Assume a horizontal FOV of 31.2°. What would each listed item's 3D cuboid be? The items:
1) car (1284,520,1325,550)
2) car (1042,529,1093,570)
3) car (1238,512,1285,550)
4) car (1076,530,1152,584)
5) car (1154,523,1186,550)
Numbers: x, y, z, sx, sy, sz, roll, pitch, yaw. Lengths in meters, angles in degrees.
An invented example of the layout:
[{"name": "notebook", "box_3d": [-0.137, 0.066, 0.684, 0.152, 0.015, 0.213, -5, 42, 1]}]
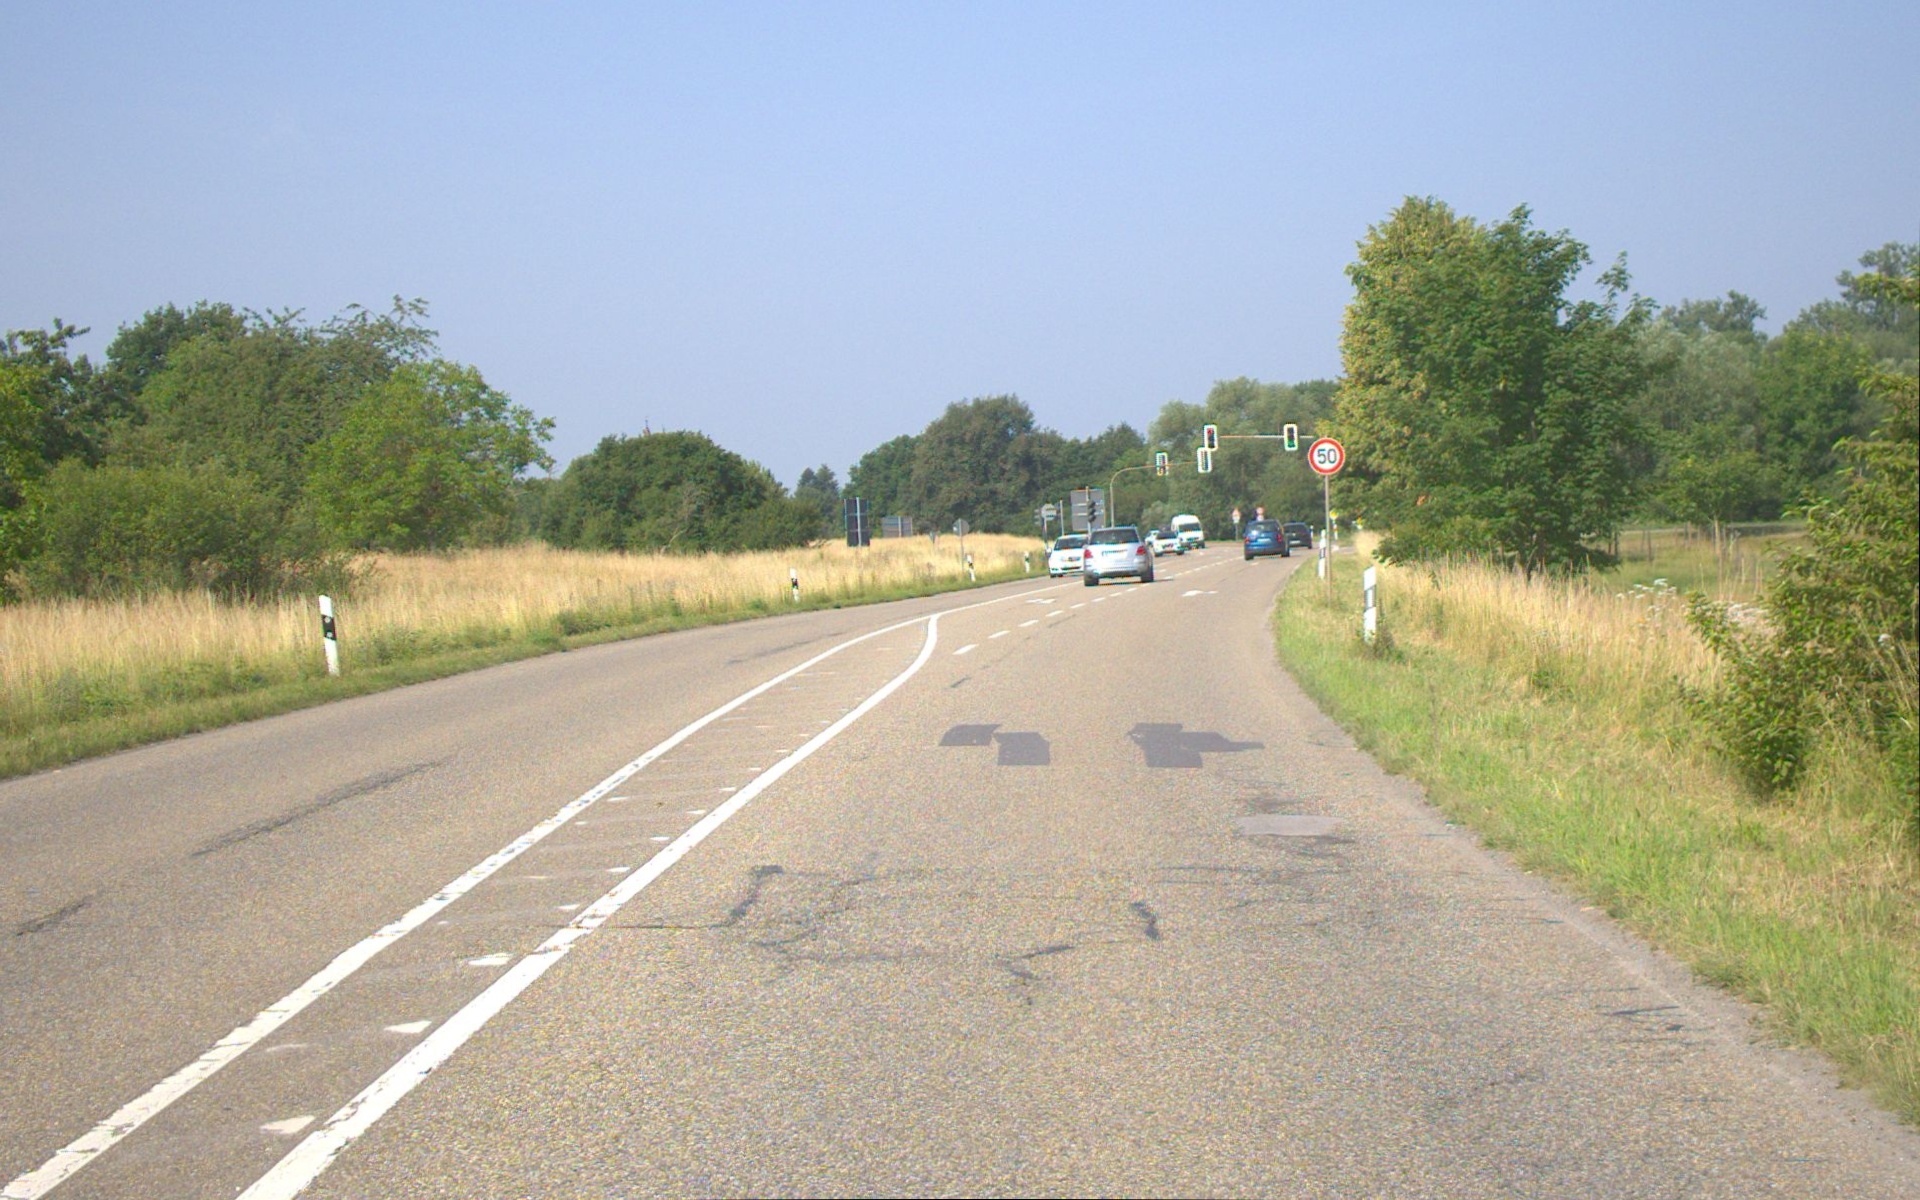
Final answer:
[{"name": "car", "box_3d": [18.056, -3.432, 180.101, 1.841, 1.546, 4.000, 0, 1, 2]}, {"name": "car", "box_3d": [4.157, -1.960, 132.559, 1.812, 1.579, 4.224, 0, 1, 4]}, {"name": "car", "box_3d": [12.822, -2.937, 146.104, 1.816, 1.515, 3.999, -2, 1, 7]}, {"name": "car", "box_3d": [4.373, -1.228, 96.954, 1.899, 1.506, 3.999, 0, 1, 6]}, {"name": "car", "box_3d": [13.764, -4.165, 224.999, 1.836, 1.688, 3.858, -1, 1, 7]}]
